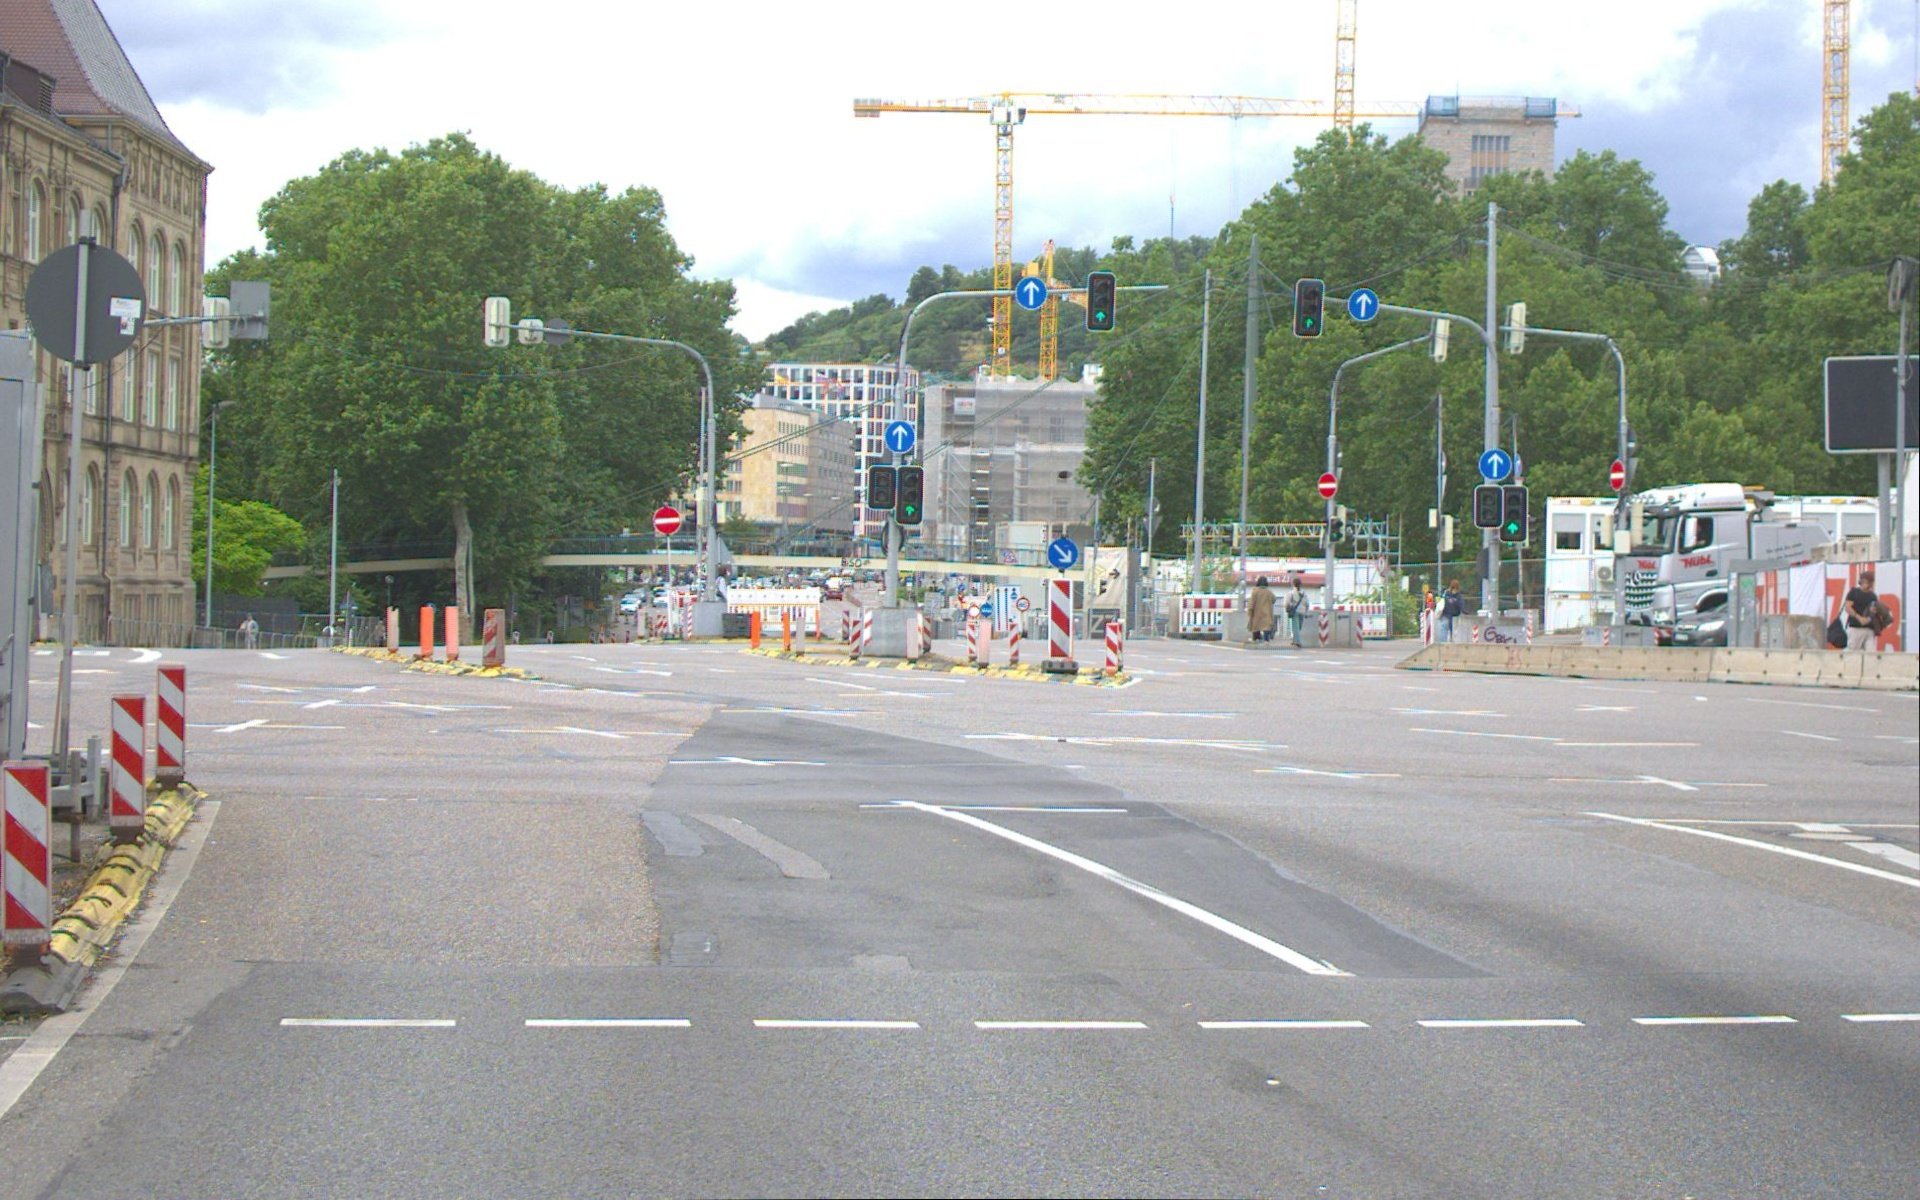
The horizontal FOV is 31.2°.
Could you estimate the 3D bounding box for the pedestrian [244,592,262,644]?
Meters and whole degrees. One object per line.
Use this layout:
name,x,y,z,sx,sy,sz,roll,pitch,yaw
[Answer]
pedestrian,-27.148,0.689,131.991,0.524,2.007,0.567,1,1,0

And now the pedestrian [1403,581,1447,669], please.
pedestrian,9.132,0.483,67.529,0.729,1.683,0.678,1,1,-1

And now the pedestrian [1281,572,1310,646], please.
pedestrian,7.724,0.213,79.066,0.566,1.683,0.472,1,1,-1

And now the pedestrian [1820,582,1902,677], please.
pedestrian,13.487,0.440,51.482,0.796,1.373,0.905,1,1,-18

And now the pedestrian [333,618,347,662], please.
pedestrian,-28.557,1.847,158.441,0.524,2.007,0.567,1,1,0

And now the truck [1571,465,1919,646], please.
truck,21.360,-0.995,82.006,13.022,4.027,3.952,1,1,-20

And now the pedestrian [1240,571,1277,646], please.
pedestrian,6.828,0.193,78.731,0.729,1.683,0.678,1,1,-1

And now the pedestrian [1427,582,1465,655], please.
pedestrian,11.305,0.424,79.884,0.622,1.683,0.710,2,1,29
